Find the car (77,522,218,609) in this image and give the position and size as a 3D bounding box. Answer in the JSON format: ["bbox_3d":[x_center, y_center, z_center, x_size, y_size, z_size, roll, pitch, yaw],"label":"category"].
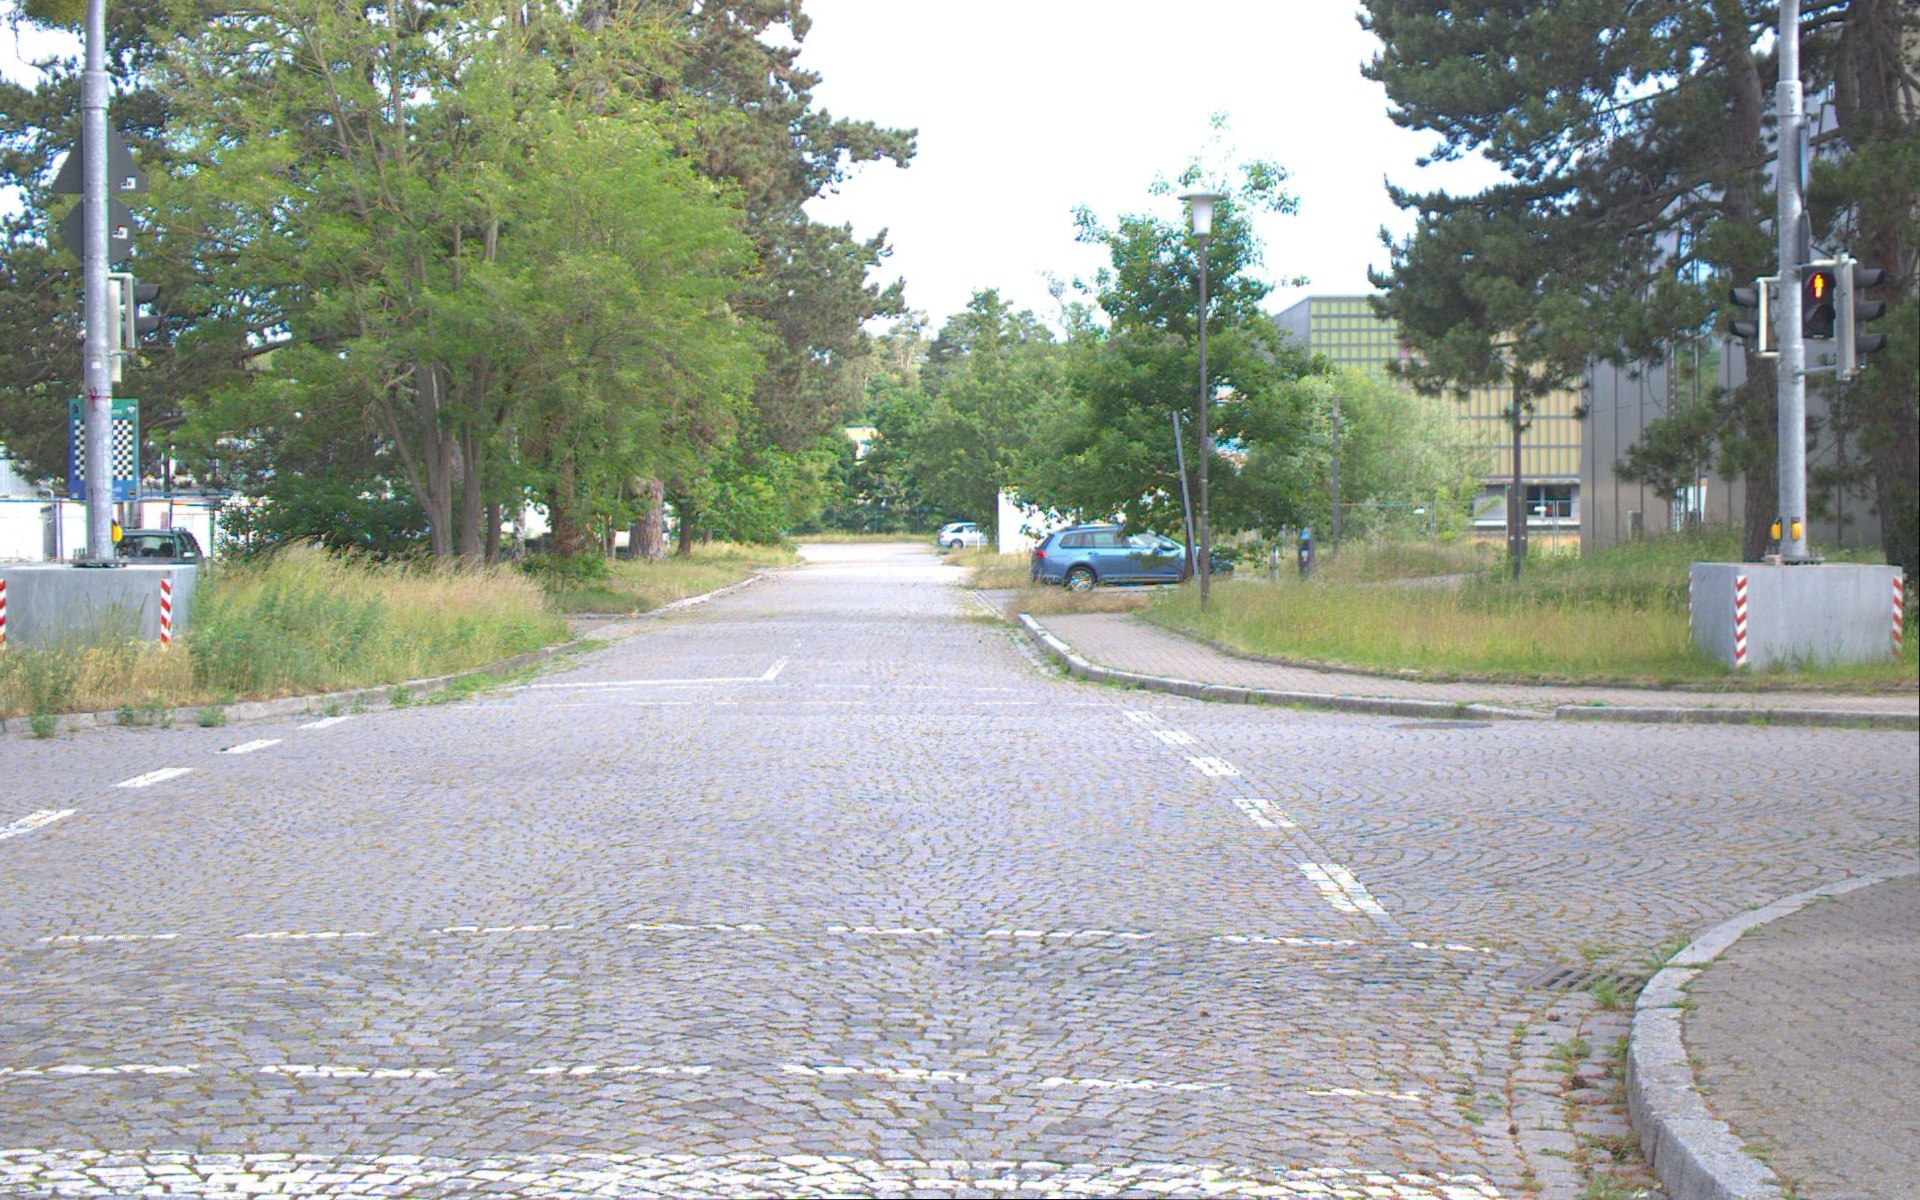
[{"bbox_3d":[-14.456,-0.643,61.348,1.613,1.482,4.000,0,1,-1],"label":"car"}]

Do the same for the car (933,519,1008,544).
[{"bbox_3d":[0.584,-3.868,193.477,3.986,1.393,2.001,0,1,-6],"label":"car"}]

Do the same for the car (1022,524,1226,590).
[{"bbox_3d":[3.623,-0.976,76.443,4.343,1.417,2.000,0,1,-3],"label":"car"}]
